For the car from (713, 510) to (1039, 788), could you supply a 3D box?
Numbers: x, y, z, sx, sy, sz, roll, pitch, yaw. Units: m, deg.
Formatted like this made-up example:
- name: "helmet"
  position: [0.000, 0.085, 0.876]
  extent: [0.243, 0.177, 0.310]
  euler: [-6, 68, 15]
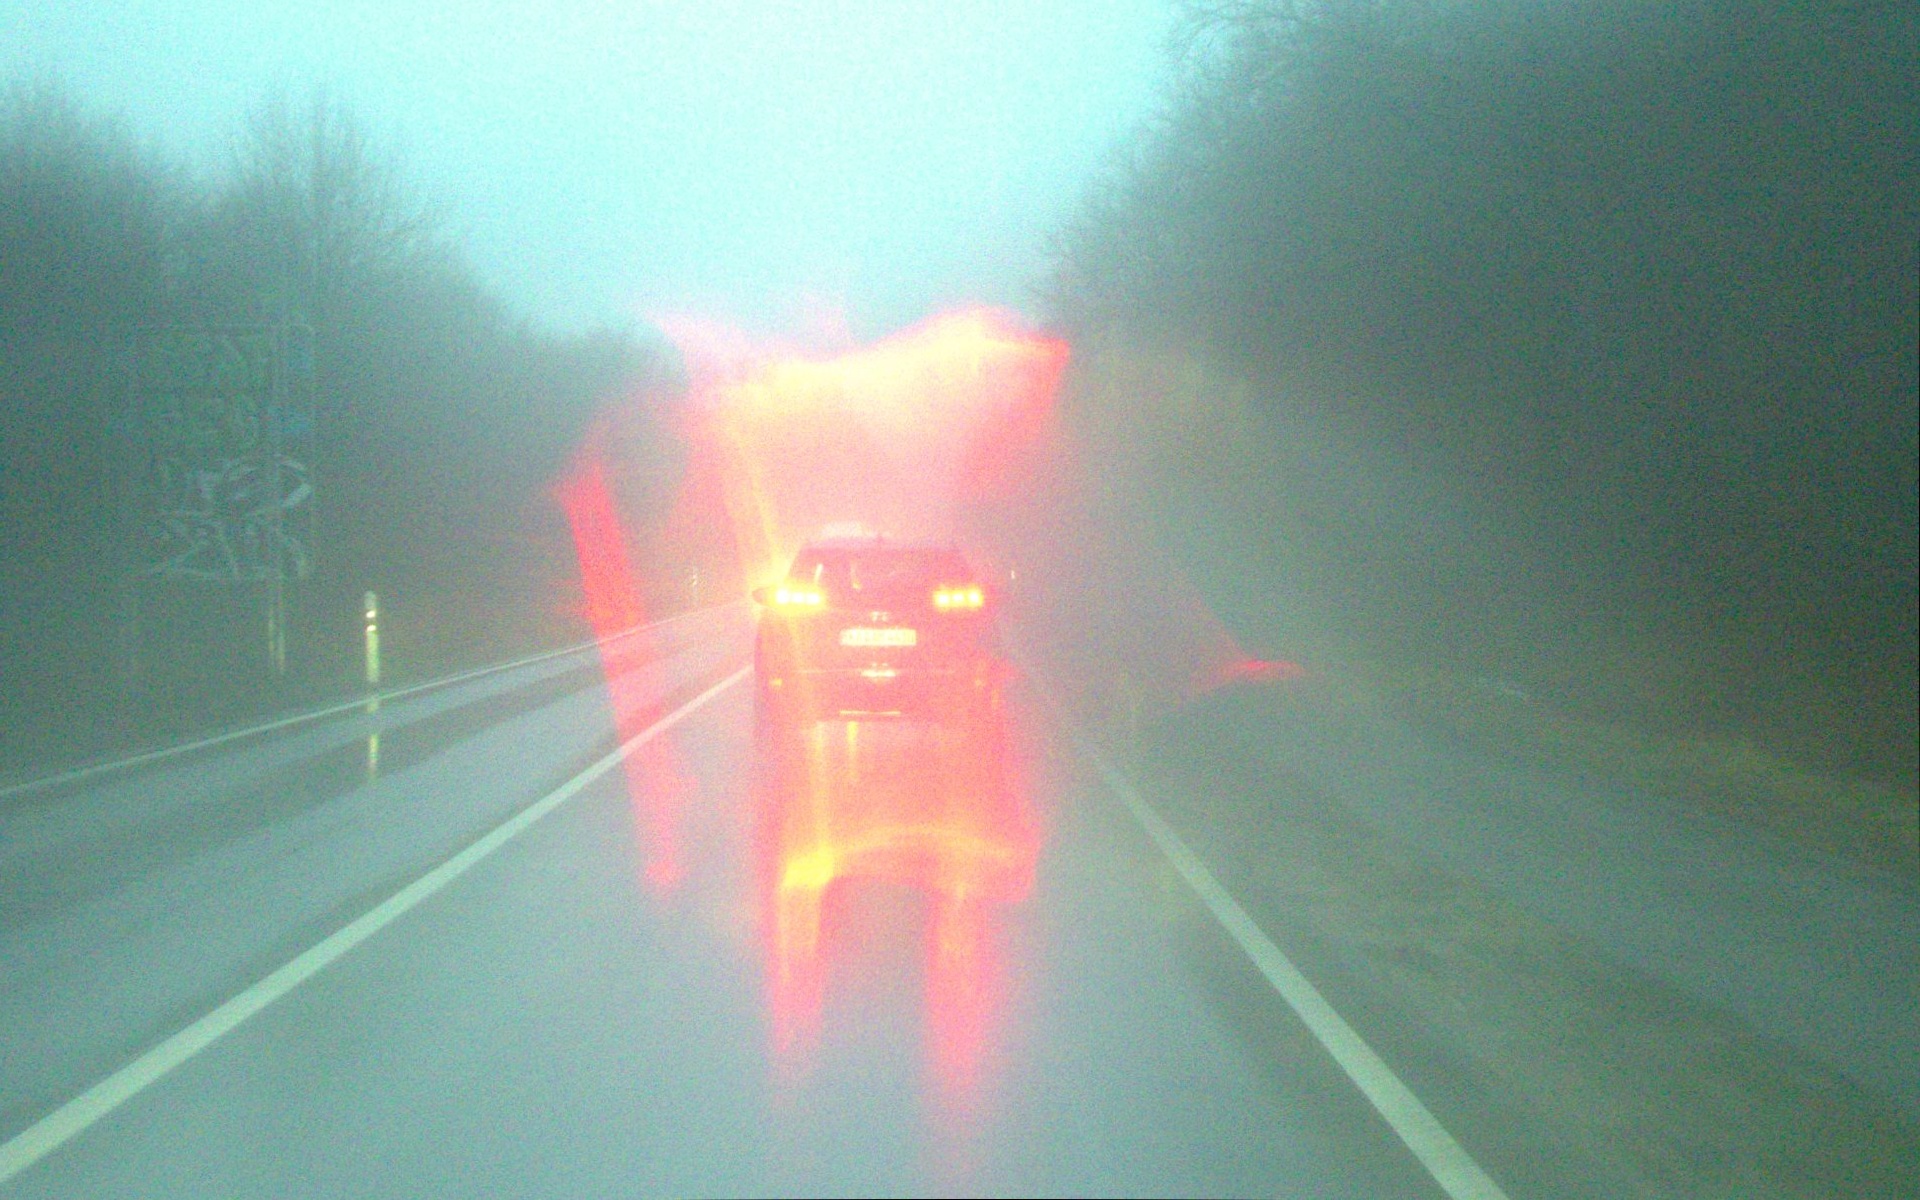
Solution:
- name: "car"
  position: [-0.599, 0.310, 25.856]
  extent: [2.198, 1.871, 4.827]
  euler: [1, 1, -1]
